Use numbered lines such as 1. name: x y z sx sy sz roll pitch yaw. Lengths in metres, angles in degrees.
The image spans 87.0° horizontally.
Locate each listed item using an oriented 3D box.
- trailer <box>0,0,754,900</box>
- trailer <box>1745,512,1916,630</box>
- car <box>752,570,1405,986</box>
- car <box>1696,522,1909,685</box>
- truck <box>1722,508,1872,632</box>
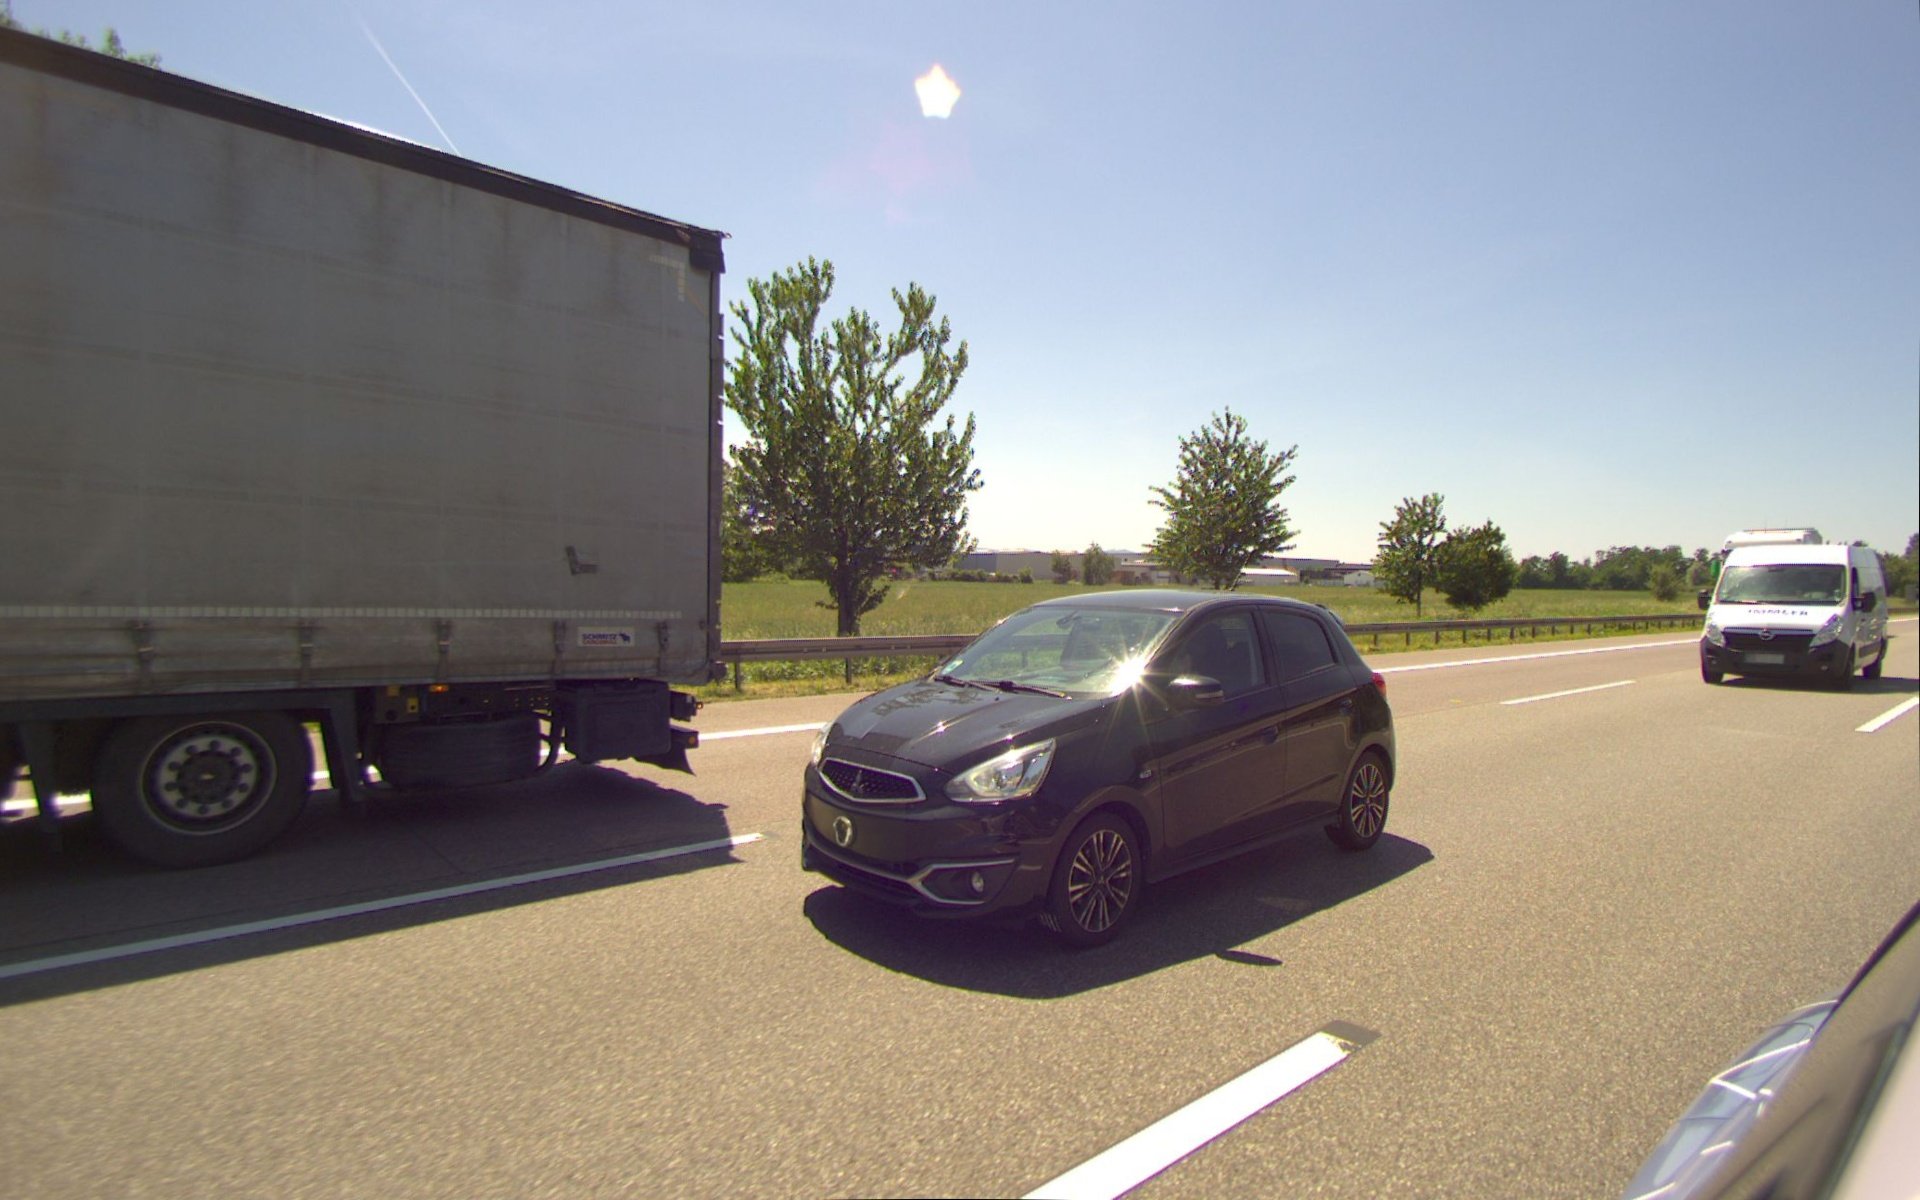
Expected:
1. trailer: -7.656 -0.819 3.549 14.002 4.359 2.815 0 0 -40
2. trailer: 34.643 -1.005 39.956 13.708 4.016 2.699 0 0 -39
3. car: 0.797 0.625 5.411 3.374 1.492 1.689 0 0 -42
4. car: 15.530 0.027 18.504 5.843 2.540 2.156 0 0 -42
5. truck: 30.126 -0.995 36.301 7.564 4.016 2.699 0 0 -39
